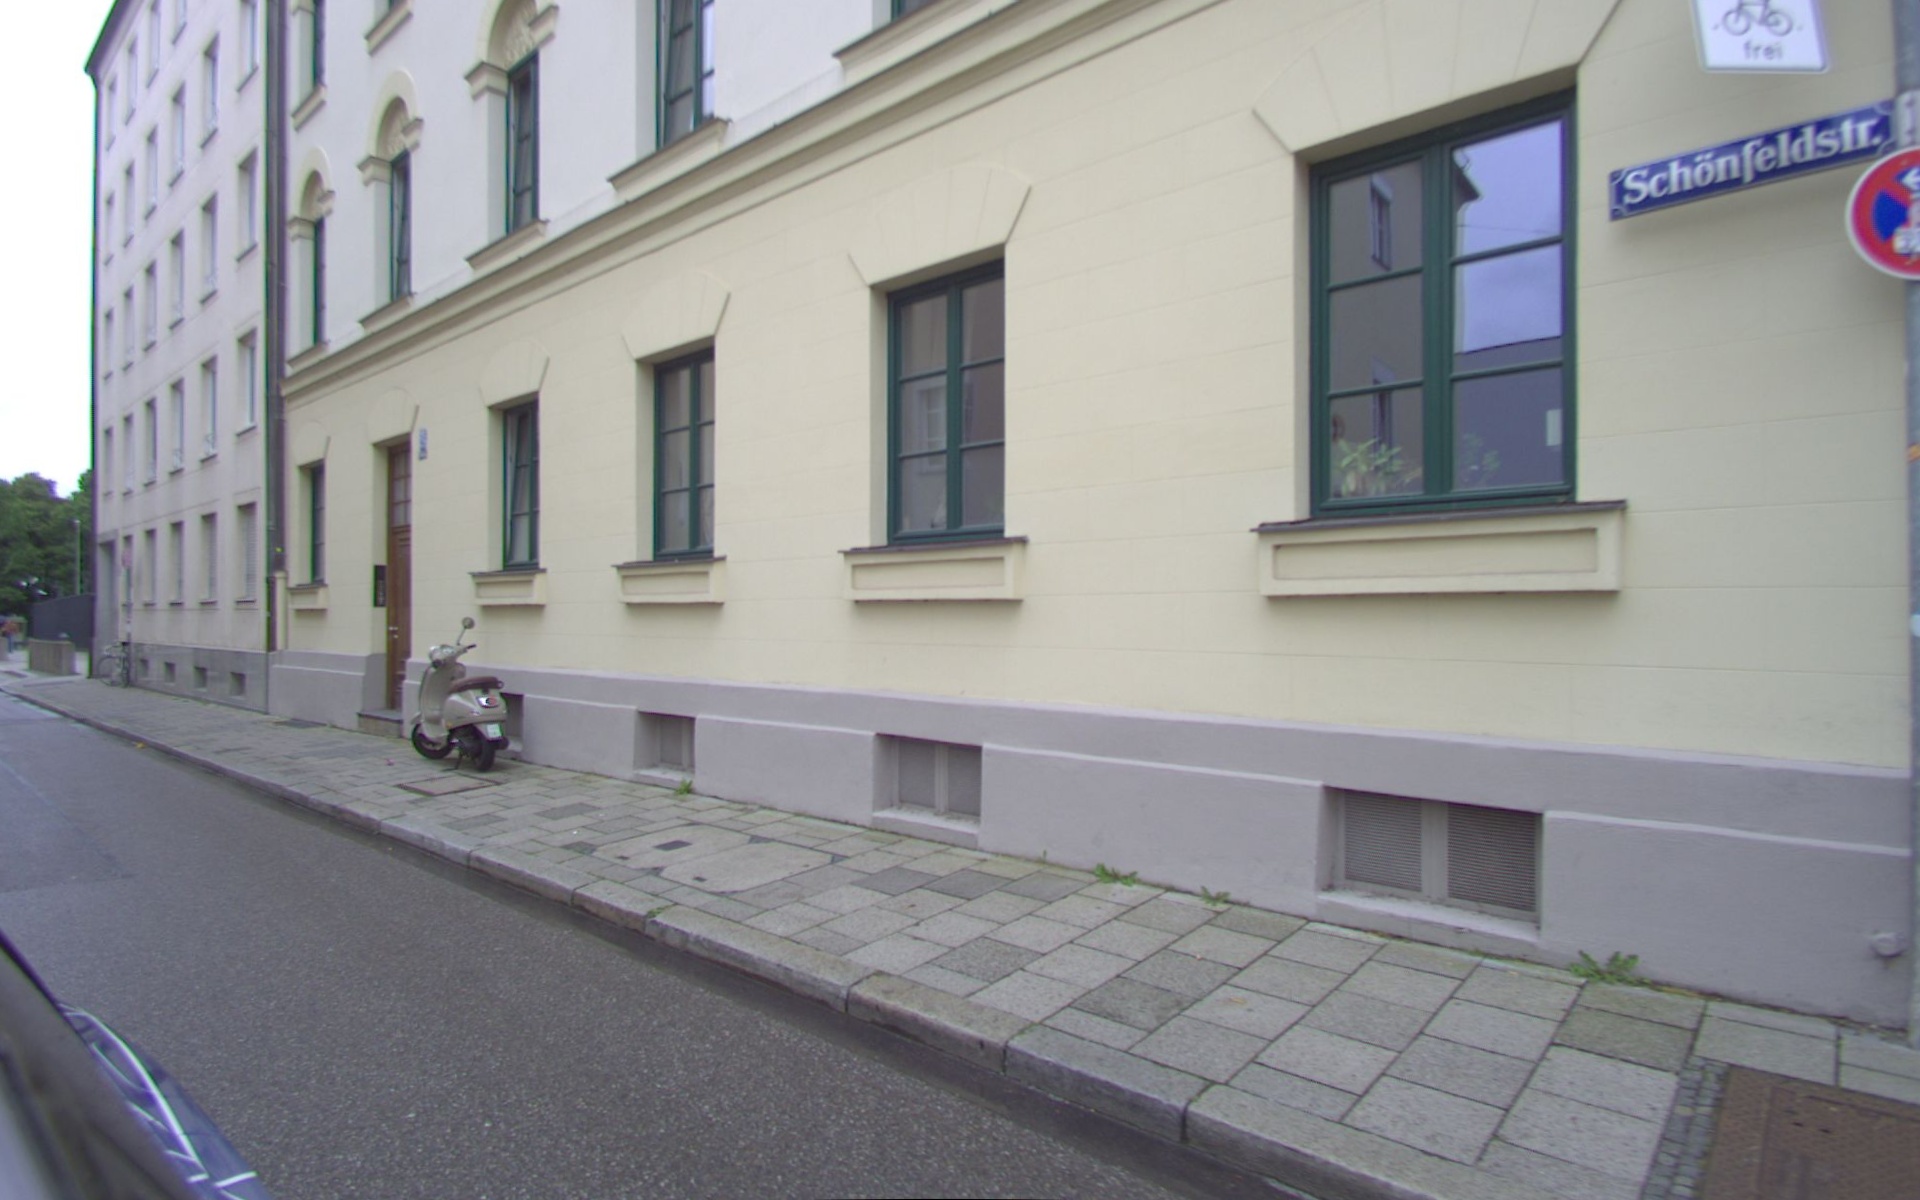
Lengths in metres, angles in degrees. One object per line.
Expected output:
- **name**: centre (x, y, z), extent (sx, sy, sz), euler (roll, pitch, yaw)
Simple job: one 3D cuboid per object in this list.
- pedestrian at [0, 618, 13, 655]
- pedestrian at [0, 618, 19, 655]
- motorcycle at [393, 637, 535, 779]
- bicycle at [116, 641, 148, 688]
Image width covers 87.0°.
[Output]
- **pedestrian**: centre (-55.175, 2.101, 58.023), extent (1.117, 2.120, 1.209), euler (-3, -2, 44)
- **pedestrian**: centre (-45.991, 1.760, 48.842), extent (0.814, 1.736, 0.906), euler (-2, 0, -43)
- **motorcycle**: centre (-4.640, 0.947, 9.419), extent (1.708, 1.183, 0.595), euler (-1, -1, 42)
- **bicycle**: centre (-18.095, 1.398, 22.100), extent (1.574, 0.951, 0.316), euler (-1, 1, 44)
